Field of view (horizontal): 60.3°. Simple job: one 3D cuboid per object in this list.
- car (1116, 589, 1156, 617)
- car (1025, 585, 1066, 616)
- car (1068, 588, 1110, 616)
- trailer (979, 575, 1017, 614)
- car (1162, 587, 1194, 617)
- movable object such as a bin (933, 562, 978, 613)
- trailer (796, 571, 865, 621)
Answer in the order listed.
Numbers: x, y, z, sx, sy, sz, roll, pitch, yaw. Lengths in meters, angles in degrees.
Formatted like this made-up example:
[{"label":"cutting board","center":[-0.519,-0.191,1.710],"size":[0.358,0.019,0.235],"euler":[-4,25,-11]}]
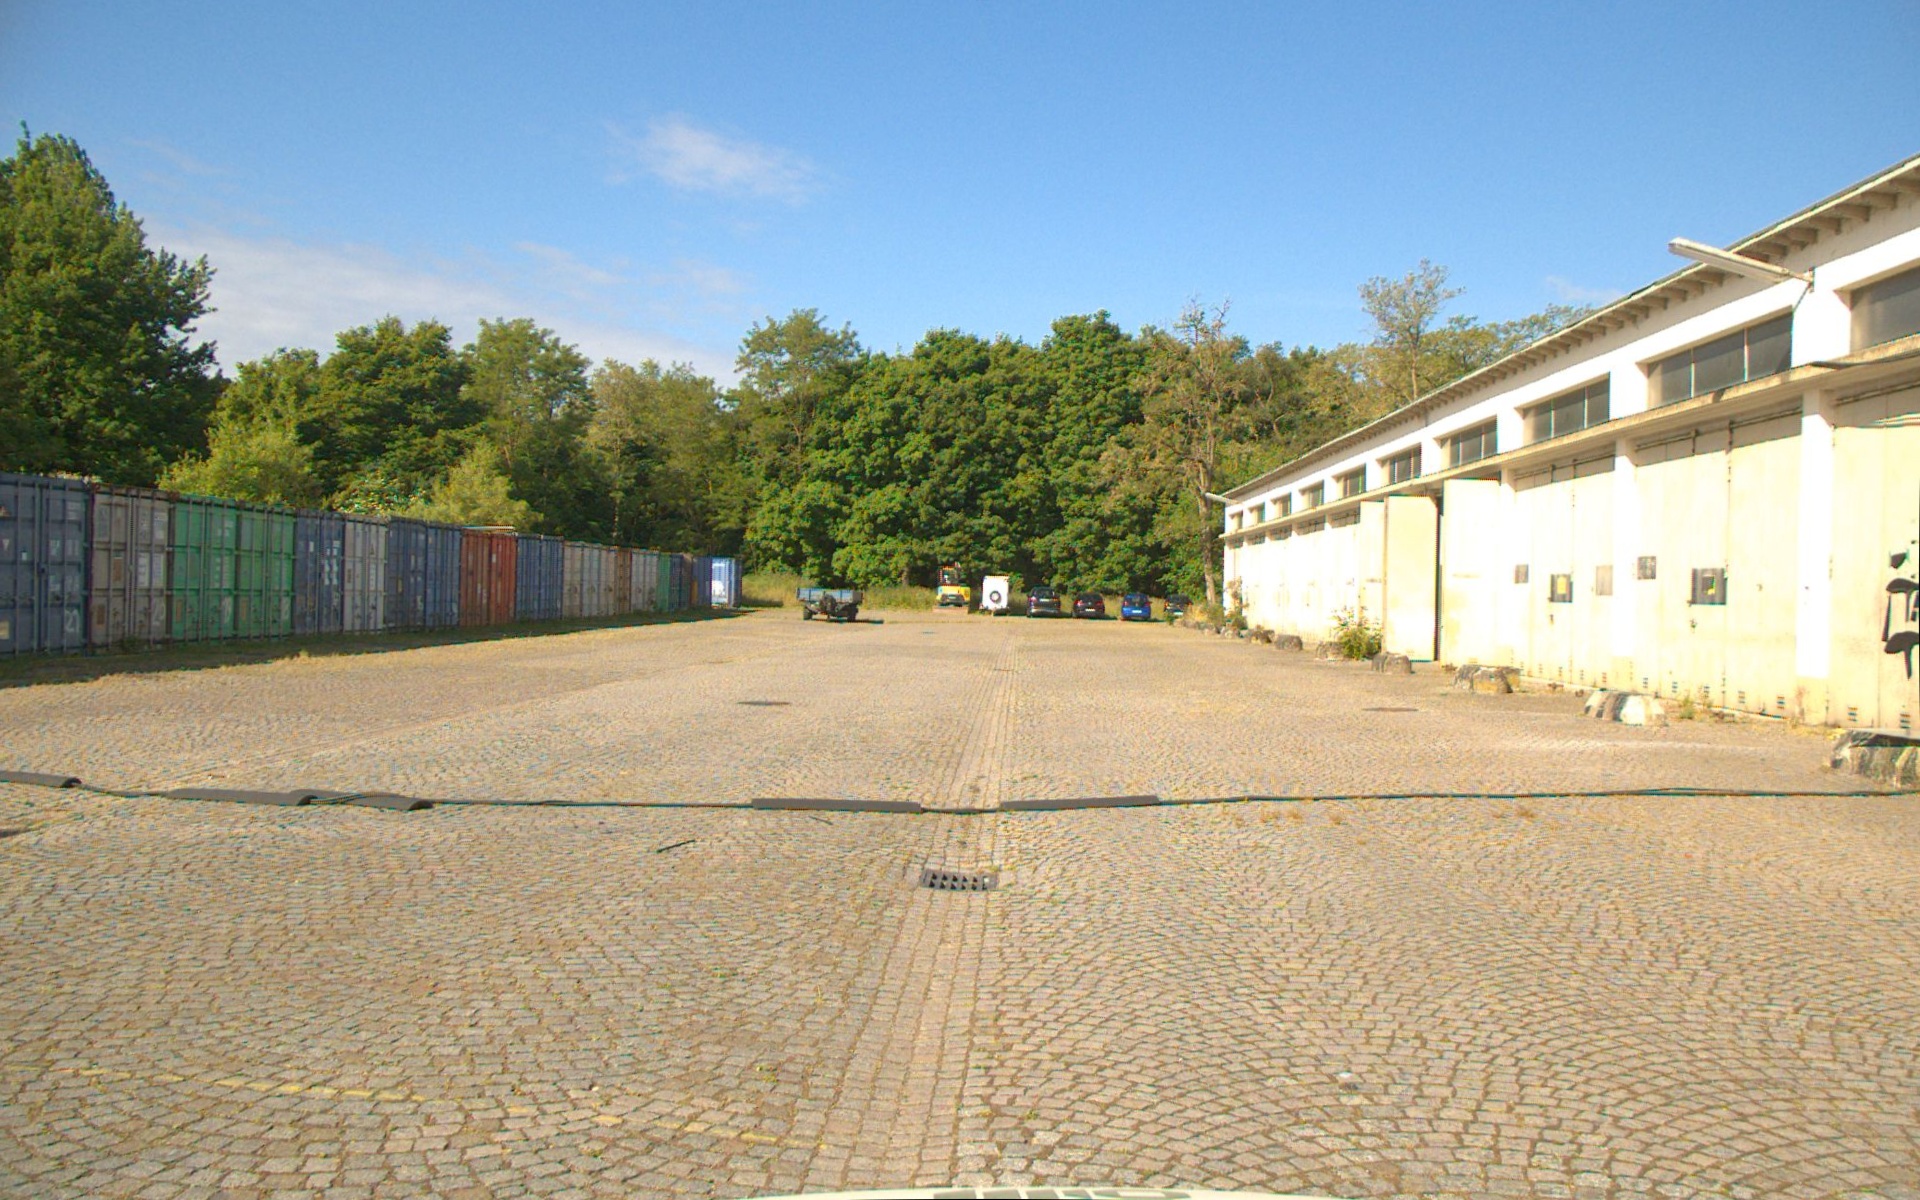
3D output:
[{"label":"car","center":[9.661,0.166,90.657],"size":[1.951,1.445,4.003],"euler":[1,0,9]},{"label":"car","center":[4.679,0.013,90.354],"size":[1.822,1.613,4.003],"euler":[1,0,9]},{"label":"car","center":[7.085,0.093,90.742],"size":[1.951,1.488,4.003],"euler":[1,0,9]},{"label":"trailer","center":[2.122,-0.311,92.411],"size":[1.756,2.126,3.974],"euler":[1,0,6]},{"label":"car","center":[12.107,0.112,91.810],"size":[1.649,1.591,4.003],"euler":[1,0,9]},{"label":"movable object such as a bin","center":[-0.211,-0.685,92.764],"size":[1.951,2.663,4.003],"euler":[3,0,6]},{"label":"trailer","center":[-5.739,-0.188,73.635],"size":[2.357,2.048,4.175],"euler":[3,0,4]}]
